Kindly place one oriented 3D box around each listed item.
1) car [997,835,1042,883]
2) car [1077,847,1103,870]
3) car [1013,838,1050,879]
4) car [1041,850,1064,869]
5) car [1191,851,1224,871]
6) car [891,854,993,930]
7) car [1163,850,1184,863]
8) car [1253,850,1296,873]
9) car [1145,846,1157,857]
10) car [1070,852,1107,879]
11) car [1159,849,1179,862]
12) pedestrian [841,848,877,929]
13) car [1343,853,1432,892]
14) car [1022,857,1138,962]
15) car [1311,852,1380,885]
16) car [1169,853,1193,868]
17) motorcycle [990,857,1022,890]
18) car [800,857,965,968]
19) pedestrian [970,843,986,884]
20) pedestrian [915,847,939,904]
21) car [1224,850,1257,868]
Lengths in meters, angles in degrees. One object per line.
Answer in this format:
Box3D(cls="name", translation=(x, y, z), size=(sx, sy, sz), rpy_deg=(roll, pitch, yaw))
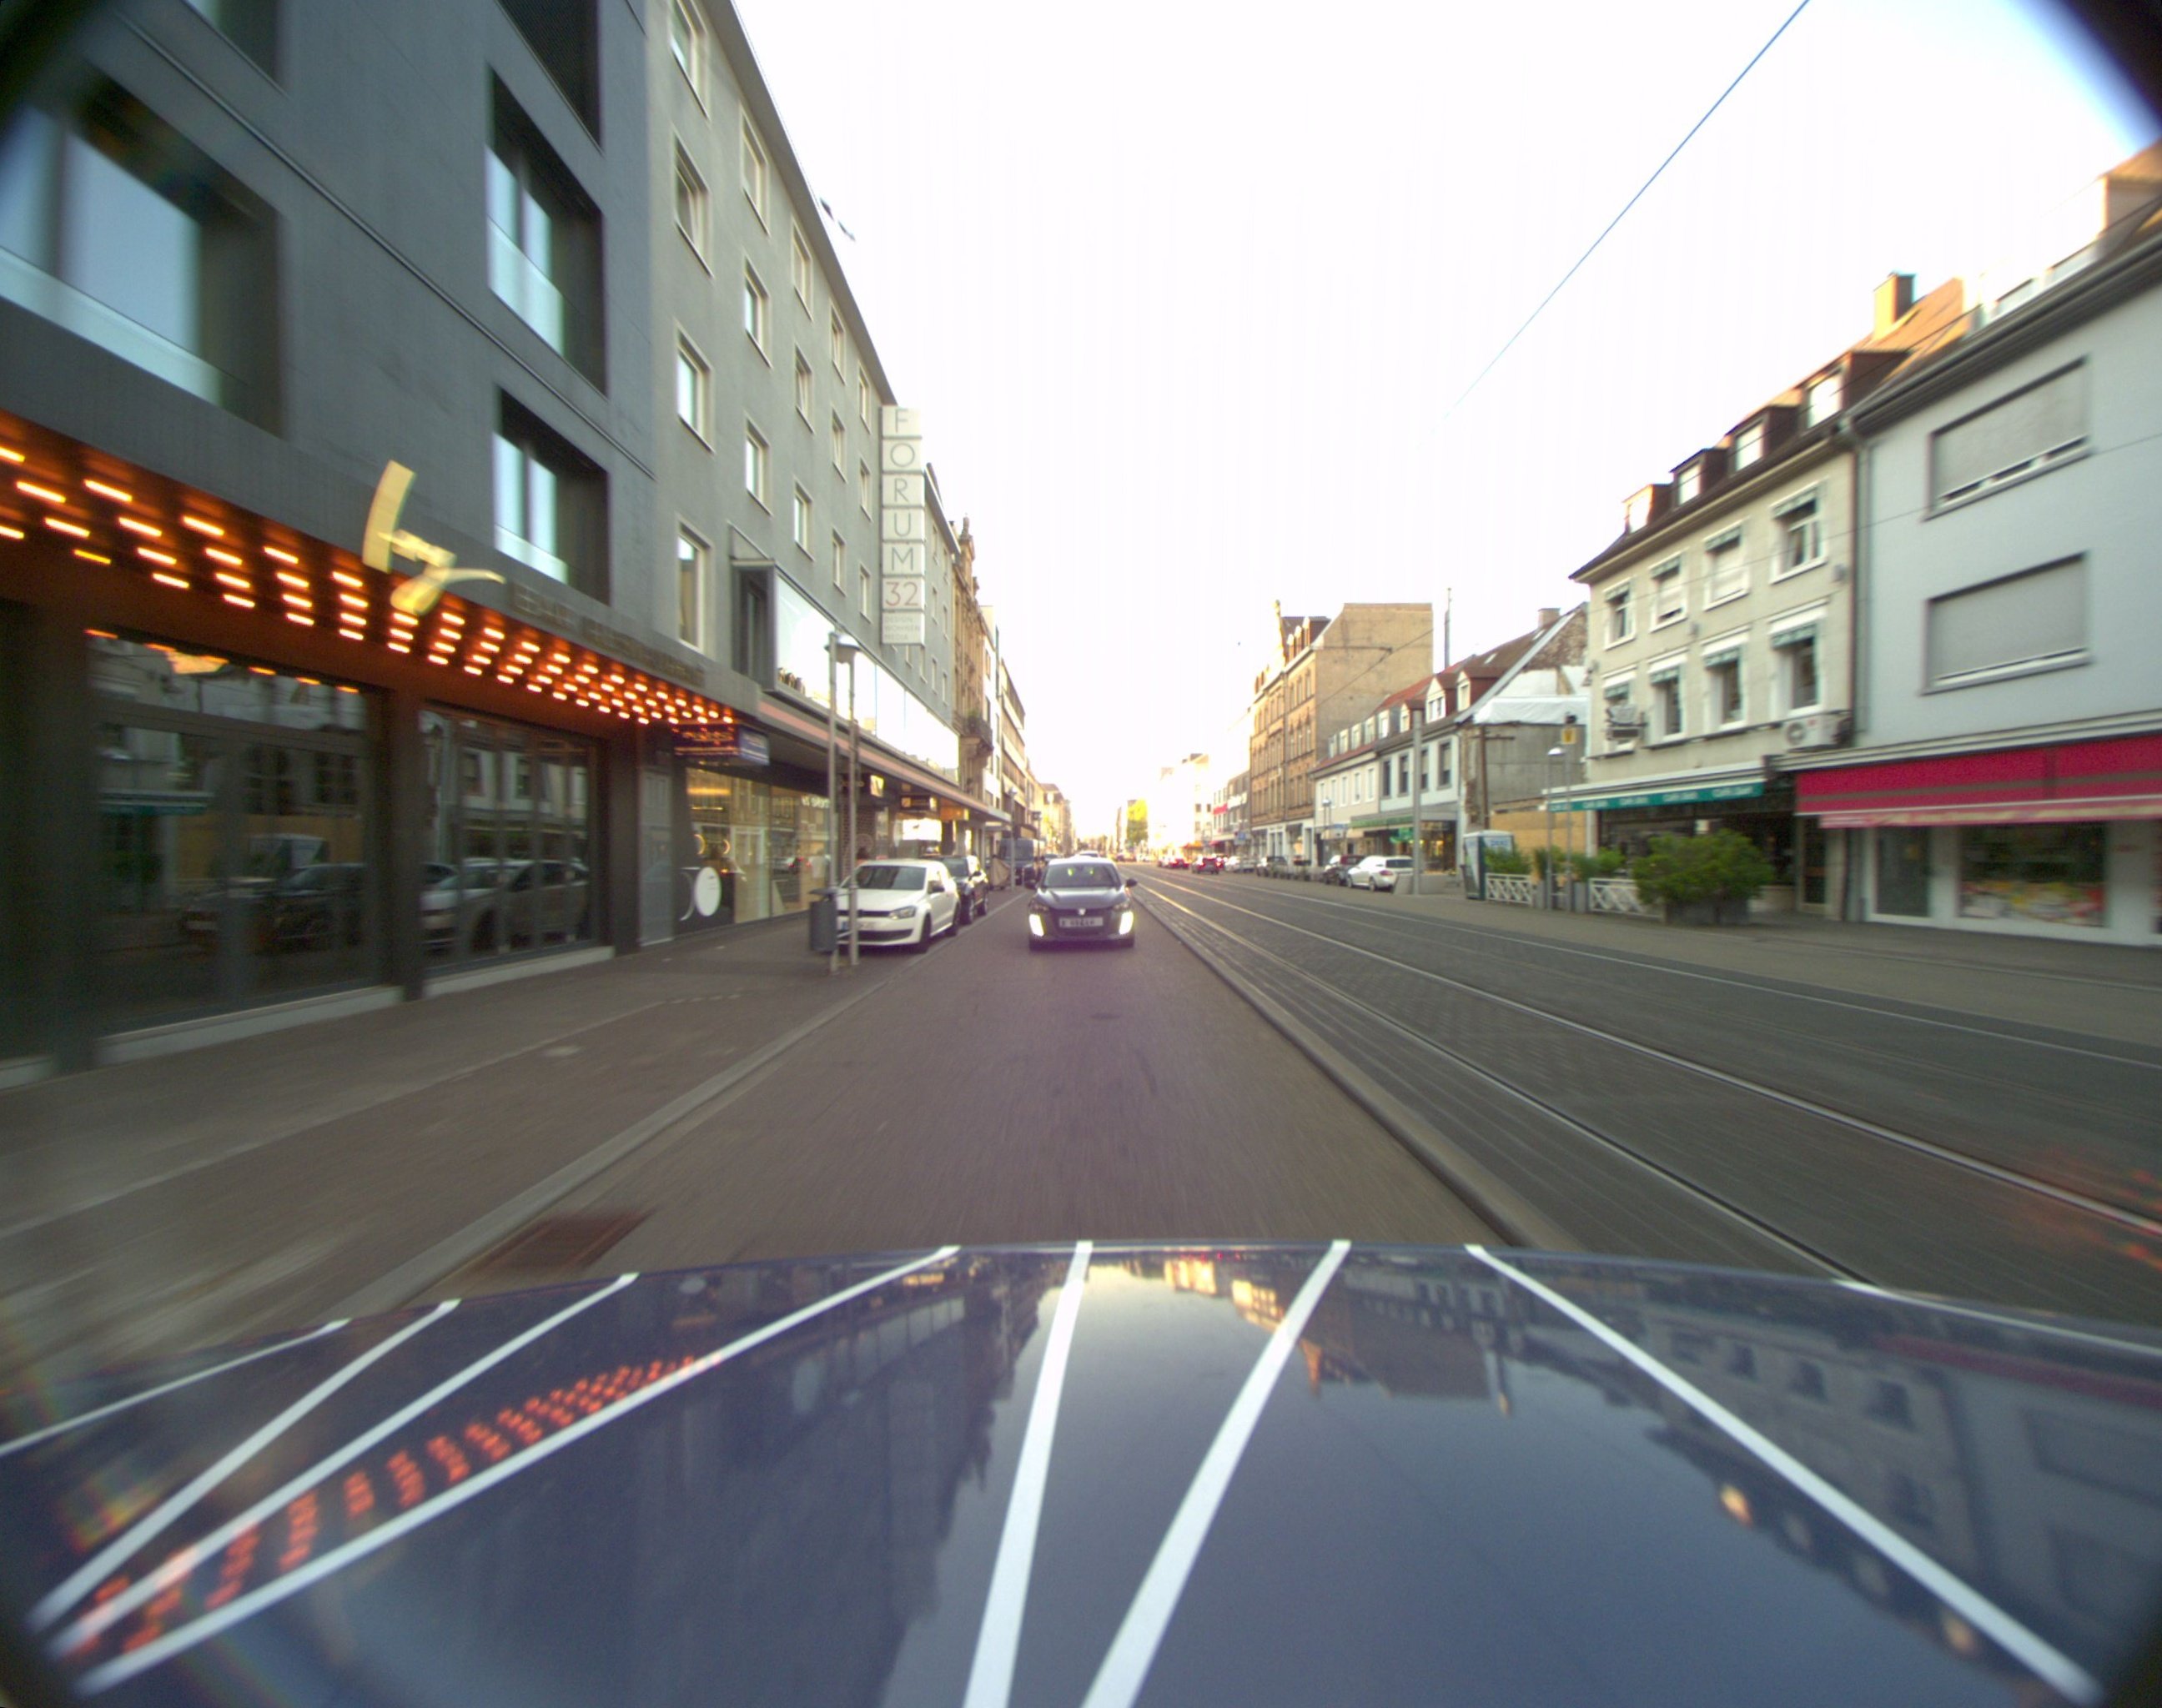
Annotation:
Box3D(cls="car", translation=(-3.215, 0.243, 40.720), size=(2.046, 2.371, 5.584), rpy_deg=(0, 0, -1))
Box3D(cls="car", translation=(0.703, 0.322, 61.788), size=(1.999, 1.805, 3.999), rpy_deg=(0, 1, -1))
Box3D(cls="car", translation=(-3.023, 0.259, 47.149), size=(1.999, 2.390, 5.563), rpy_deg=(0, 0, -1))
Box3D(cls="car", translation=(-2.572, 0.493, 70.085), size=(1.999, 1.627, 5.243), rpy_deg=(0, 0, -1))
Box3D(cls="car", translation=(10.139, 0.531, 61.205), size=(1.998, 1.543, 4.000), rpy_deg=(0, 0, 0))
Box3D(cls="car", translation=(-3.166, 0.808, 18.072), size=(1.673, 1.566, 4.034), rpy_deg=(0, 0, 0))
Box3D(cls="car", translation=(10.663, 0.260, 87.608), size=(1.998, 1.543, 4.000), rpy_deg=(0, 0, 0))
Box3D(cls="car", translation=(13.597, 0.524, 53.643), size=(1.998, 1.543, 4.000), rpy_deg=(0, 0, 0))
Box3D(cls="car", translation=(13.733, -0.465, 148.575), size=(1.998, 2.024, 4.000), rpy_deg=(0, 1, 0))
Box3D(cls="car", translation=(0.409, 0.607, 42.510), size=(1.998, 1.450, 3.999), rpy_deg=(0, 1, 0))
Box3D(cls="car", translation=(10.934, 0.175, 94.805), size=(1.998, 1.543, 4.000), rpy_deg=(0, 0, 0))
Box3D(cls="pedestrian", translation=(-4.838, 0.737, 16.574), size=(0.610, 1.743, 0.605), rpy_deg=(0, 1, 0))
Box3D(cls="car", translation=(13.214, 0.745, 33.086), size=(1.998, 1.535, 4.878), rpy_deg=(-1, 0, 1))
Box3D(cls="car", translation=(-0.031, 0.854, 13.688), size=(1.732, 1.513, 4.333), rpy_deg=(-1, 0, -1))
Box3D(cls="car", translation=(13.265, 0.677, 38.413), size=(1.914, 1.535, 4.552), rpy_deg=(0, 0, 0))
Box3D(cls="car", translation=(10.513, 0.655, 80.267), size=(1.998, 1.543, 4.000), rpy_deg=(0, 0, 0))
Box3D(cls="motorcycle", translation=(-3.210, 0.823, 32.483), size=(0.574, 1.369, 1.513), rpy_deg=(0, 1, 30))
Box3D(cls="car", translation=(-3.182, 0.853, 12.953), size=(1.682, 1.534, 3.886), rpy_deg=(1, 0, 1))
Box3D(cls="pedestrian", translation=(-5.150, 0.470, 38.044), size=(0.711, 2.002, 0.824), rpy_deg=(0, 1, 0))
Box3D(cls="pedestrian", translation=(-4.748, 0.647, 23.384), size=(0.610, 1.743, 0.605), rpy_deg=(0, 1, 0))
Box3D(cls="car", translation=(13.787, 0.422, 65.699), size=(1.998, 1.543, 4.206), rpy_deg=(0, 0, 0))
